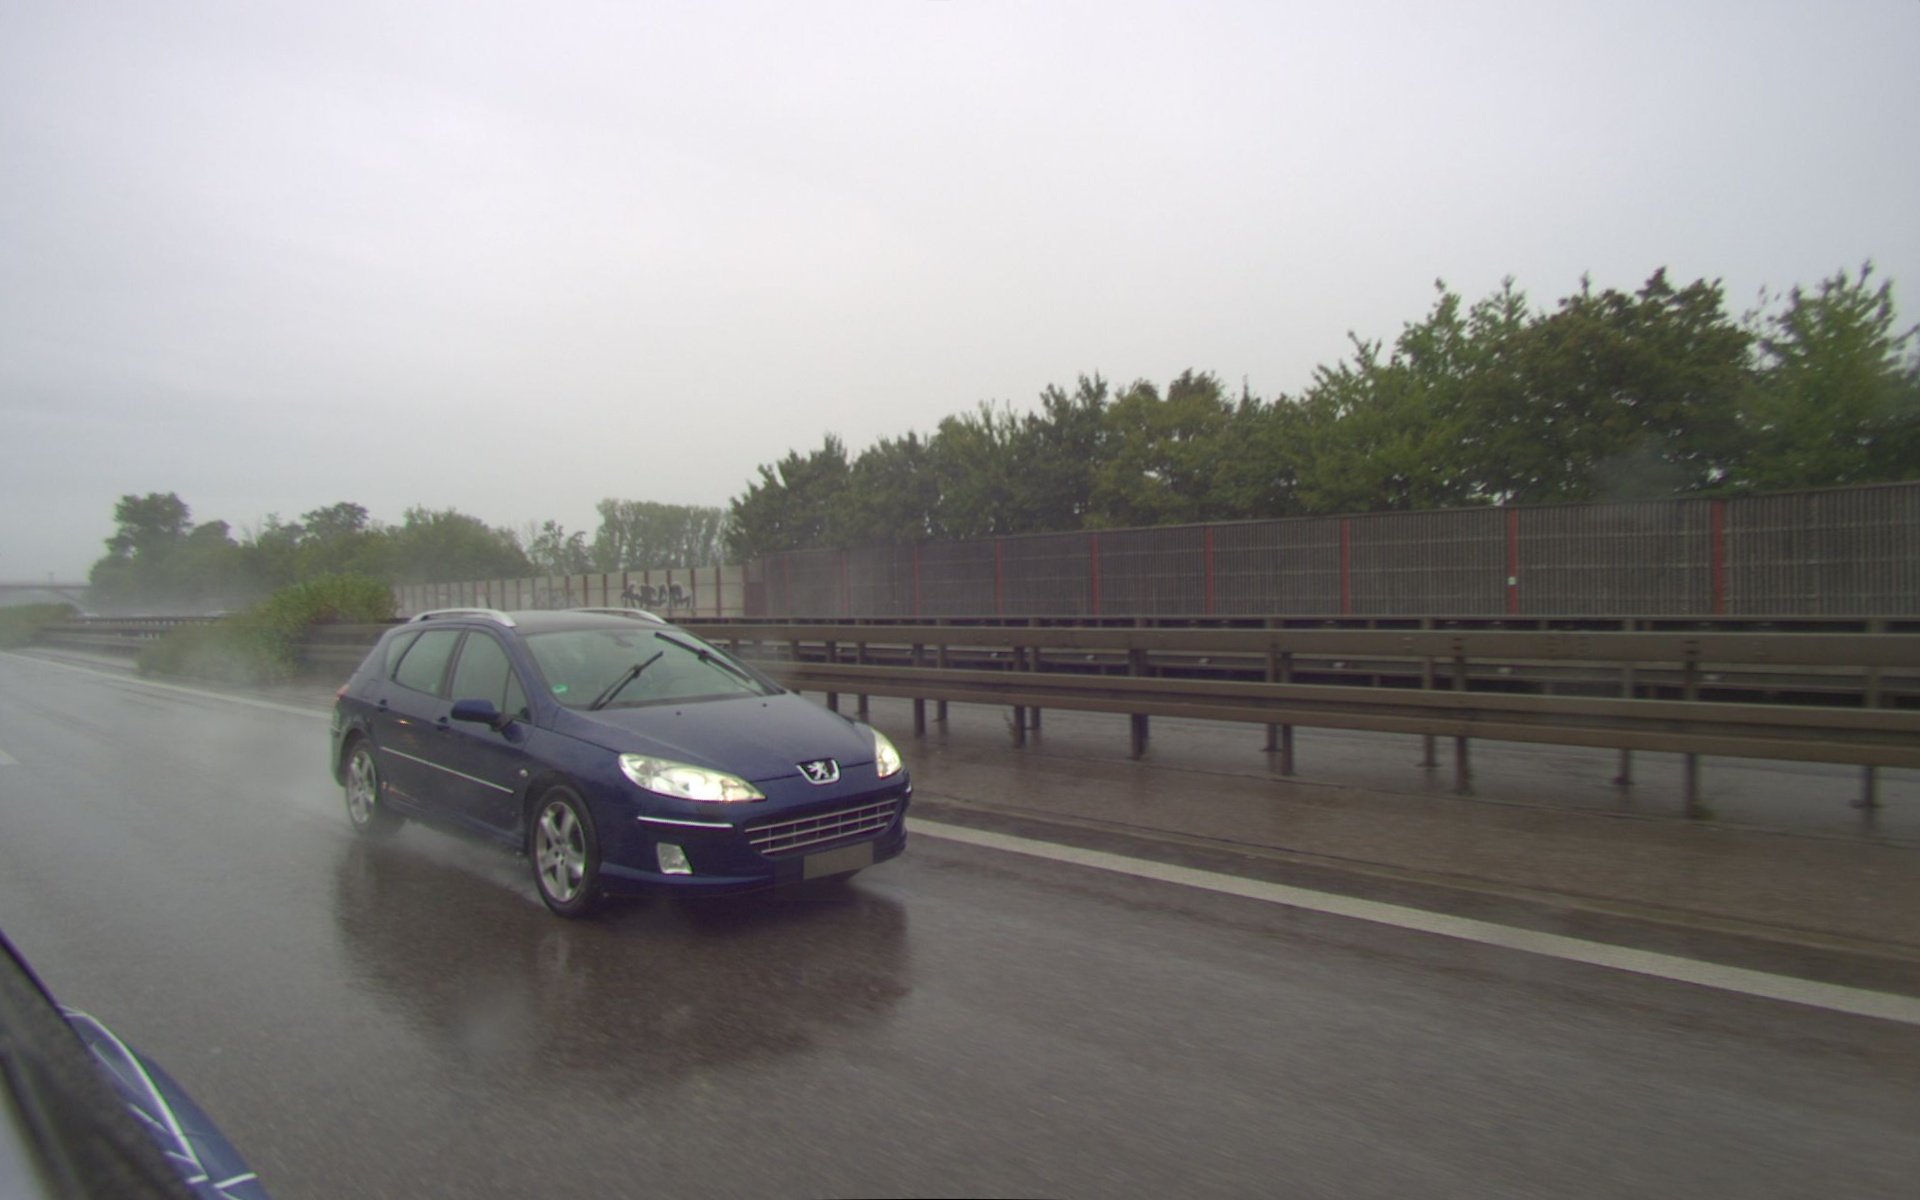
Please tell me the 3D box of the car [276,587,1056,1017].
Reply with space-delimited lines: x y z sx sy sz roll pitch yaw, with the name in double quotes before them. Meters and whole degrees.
"car" -2.117 0.738 6.019 5.156 1.496 2.032 -1 0 42
